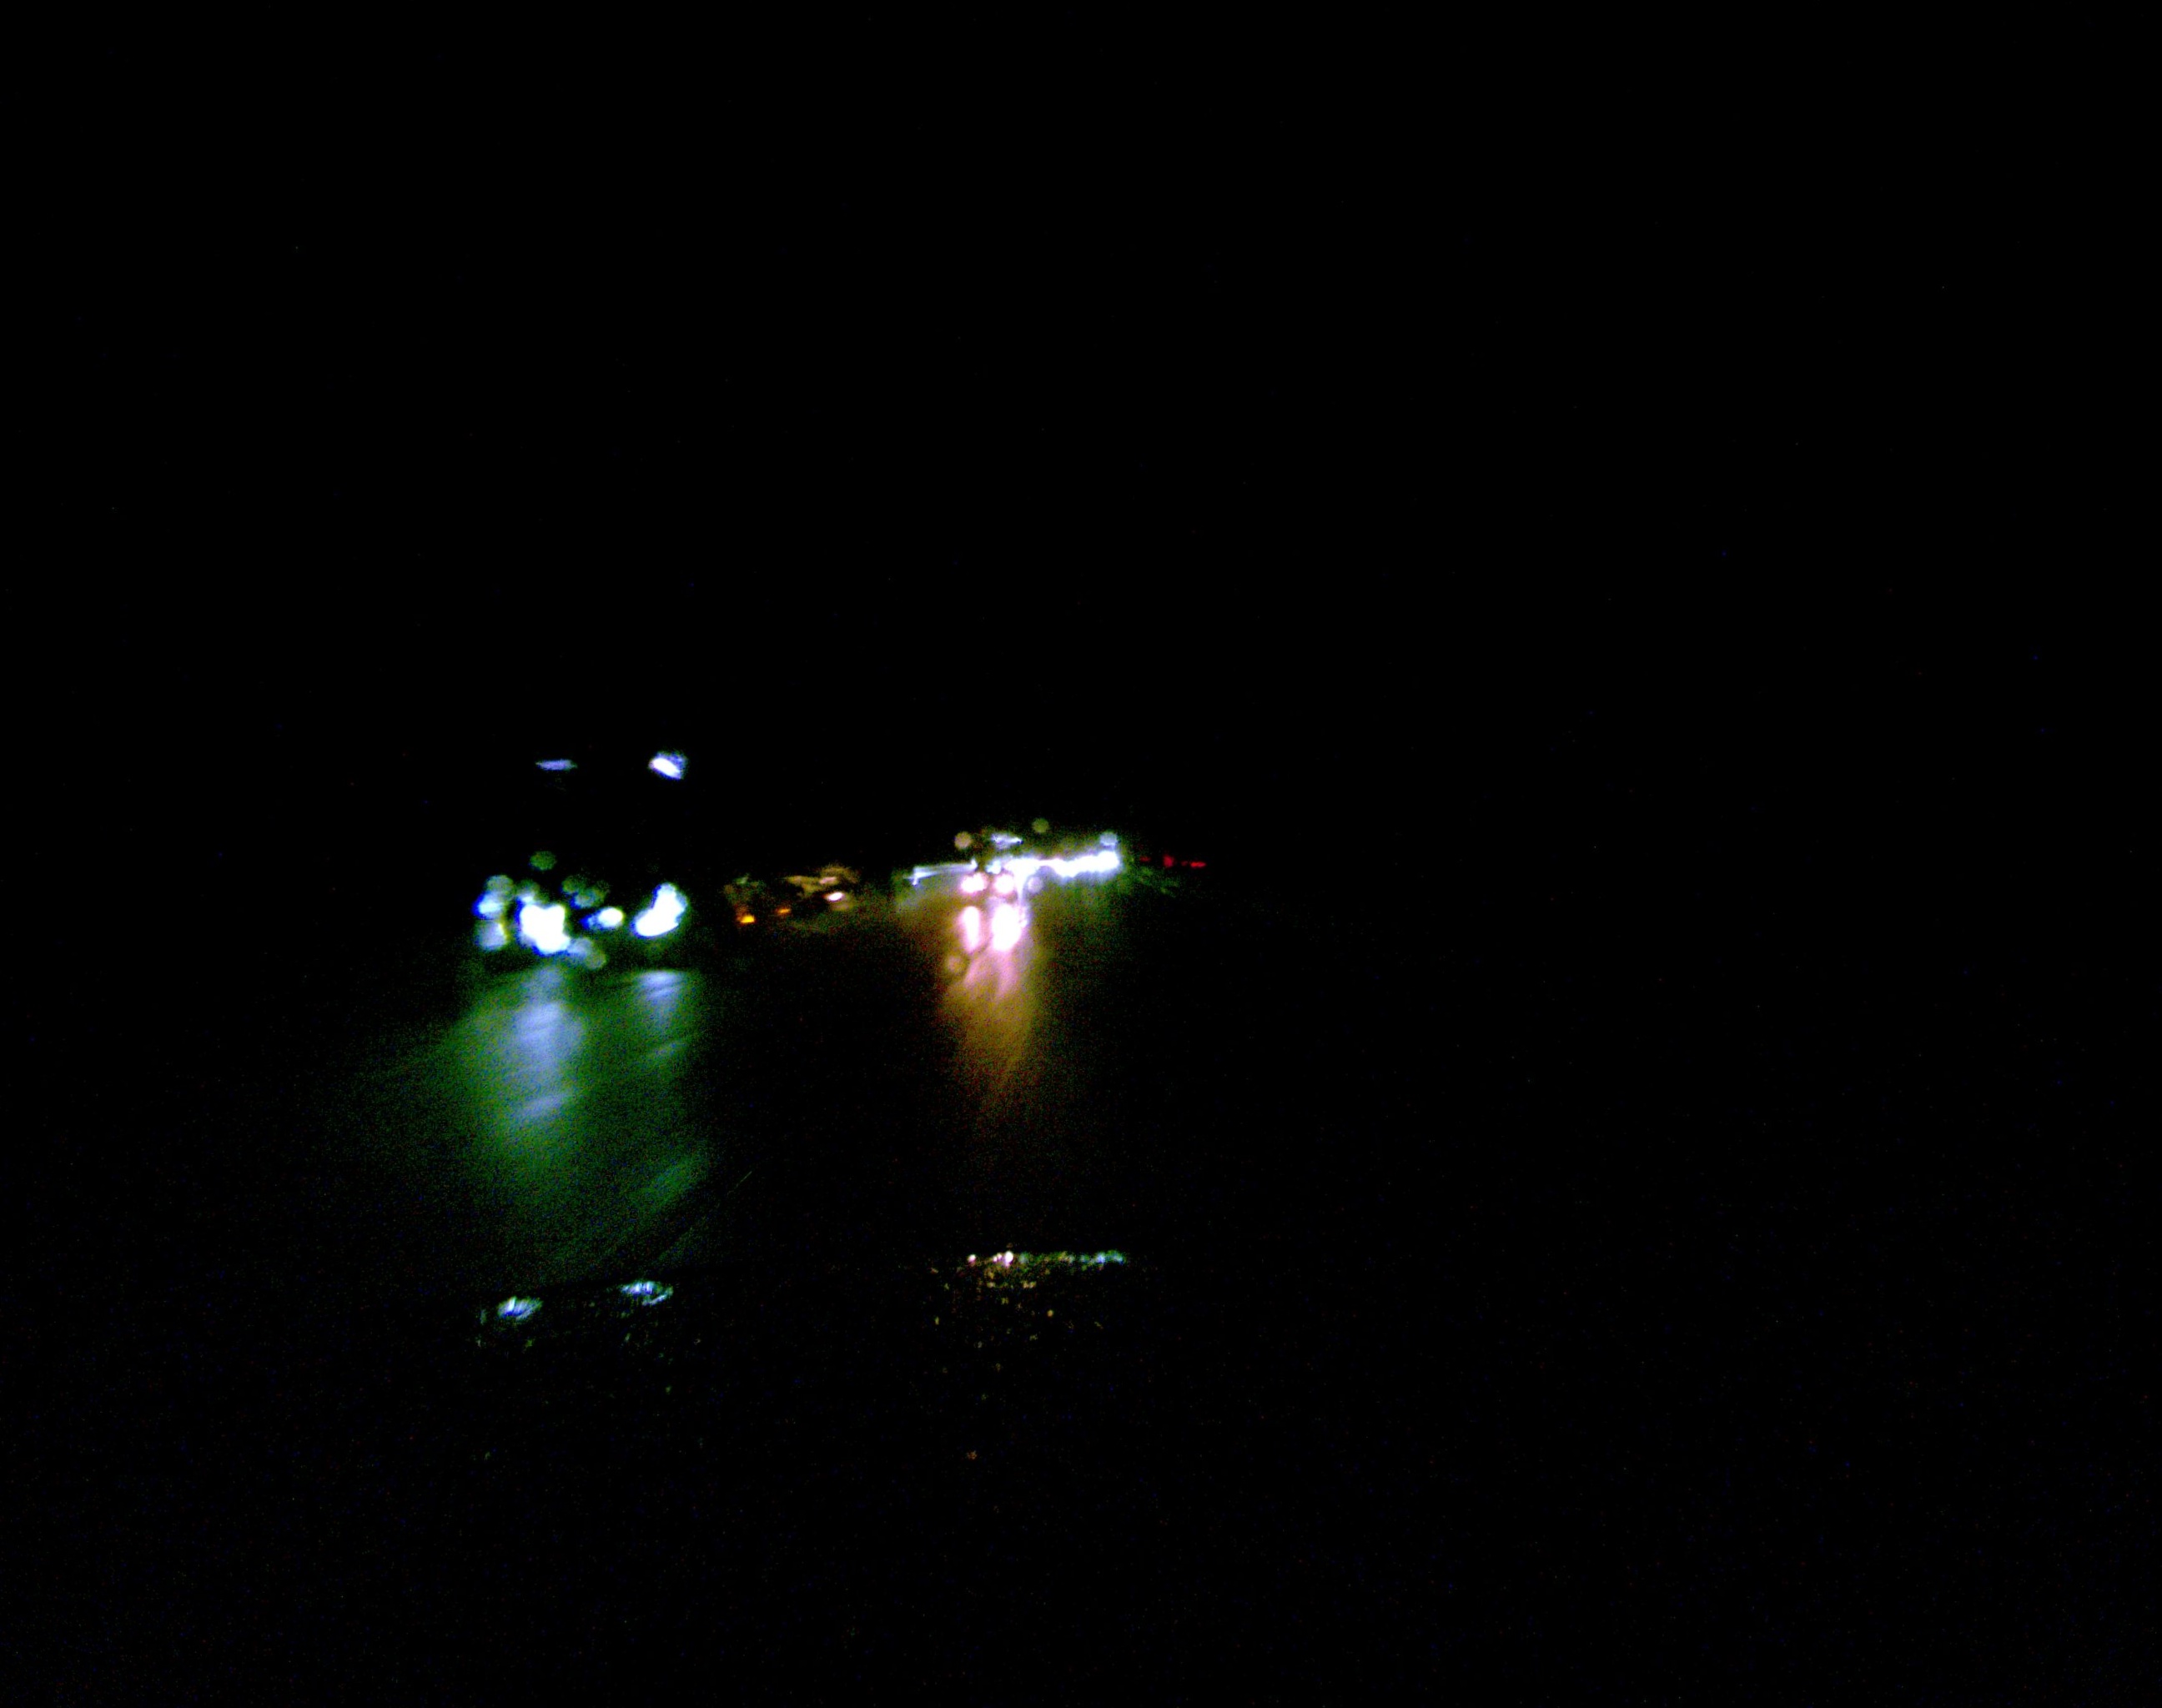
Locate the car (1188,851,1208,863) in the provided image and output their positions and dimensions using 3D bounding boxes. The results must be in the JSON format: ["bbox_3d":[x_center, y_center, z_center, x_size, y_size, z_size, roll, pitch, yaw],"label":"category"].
[{"bbox_3d":[15.108,0.360,98.347,1.789,1.517,4.380,-2,1,0],"label":"car"}]

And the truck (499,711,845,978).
[{"bbox_3d":[-7.519,-0.155,15.449,2.866,4.079,7.014,-2,0,2],"label":"truck"}]

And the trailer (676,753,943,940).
[{"bbox_3d":[-7.322,-0.226,23.823,2.871,4.074,13.641,-2,1,2],"label":"trailer"}]

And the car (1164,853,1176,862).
[{"bbox_3d":[16.312,0.678,139.154,1.738,1.499,3.795,1,0,2],"label":"car"}]

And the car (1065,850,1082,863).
[{"bbox_3d":[-0.911,0.269,96.718,1.944,1.521,4.000,-2,1,2],"label":"car"}]

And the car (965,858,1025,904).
[{"bbox_3d":[-3.124,0.948,28.249,1.619,1.494,3.767,-2,1,2],"label":"car"}]

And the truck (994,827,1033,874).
[{"bbox_3d":[-6.417,-0.352,73.009,2.778,4.168,6.016,-2,0,2],"label":"truck"}]

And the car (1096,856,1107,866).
[{"bbox_3d":[3.300,1.078,120.010,1.619,1.452,3.767,-2,1,2],"label":"car"}]

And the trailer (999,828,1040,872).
[{"bbox_3d":[-6.222,-0.407,78.664,2.753,4.168,11.180,-2,0,2],"label":"trailer"}]

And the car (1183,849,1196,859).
[{"bbox_3d":[25.875,0.033,181.162,2.387,2.429,7.148,1,0,2],"label":"car"}]
